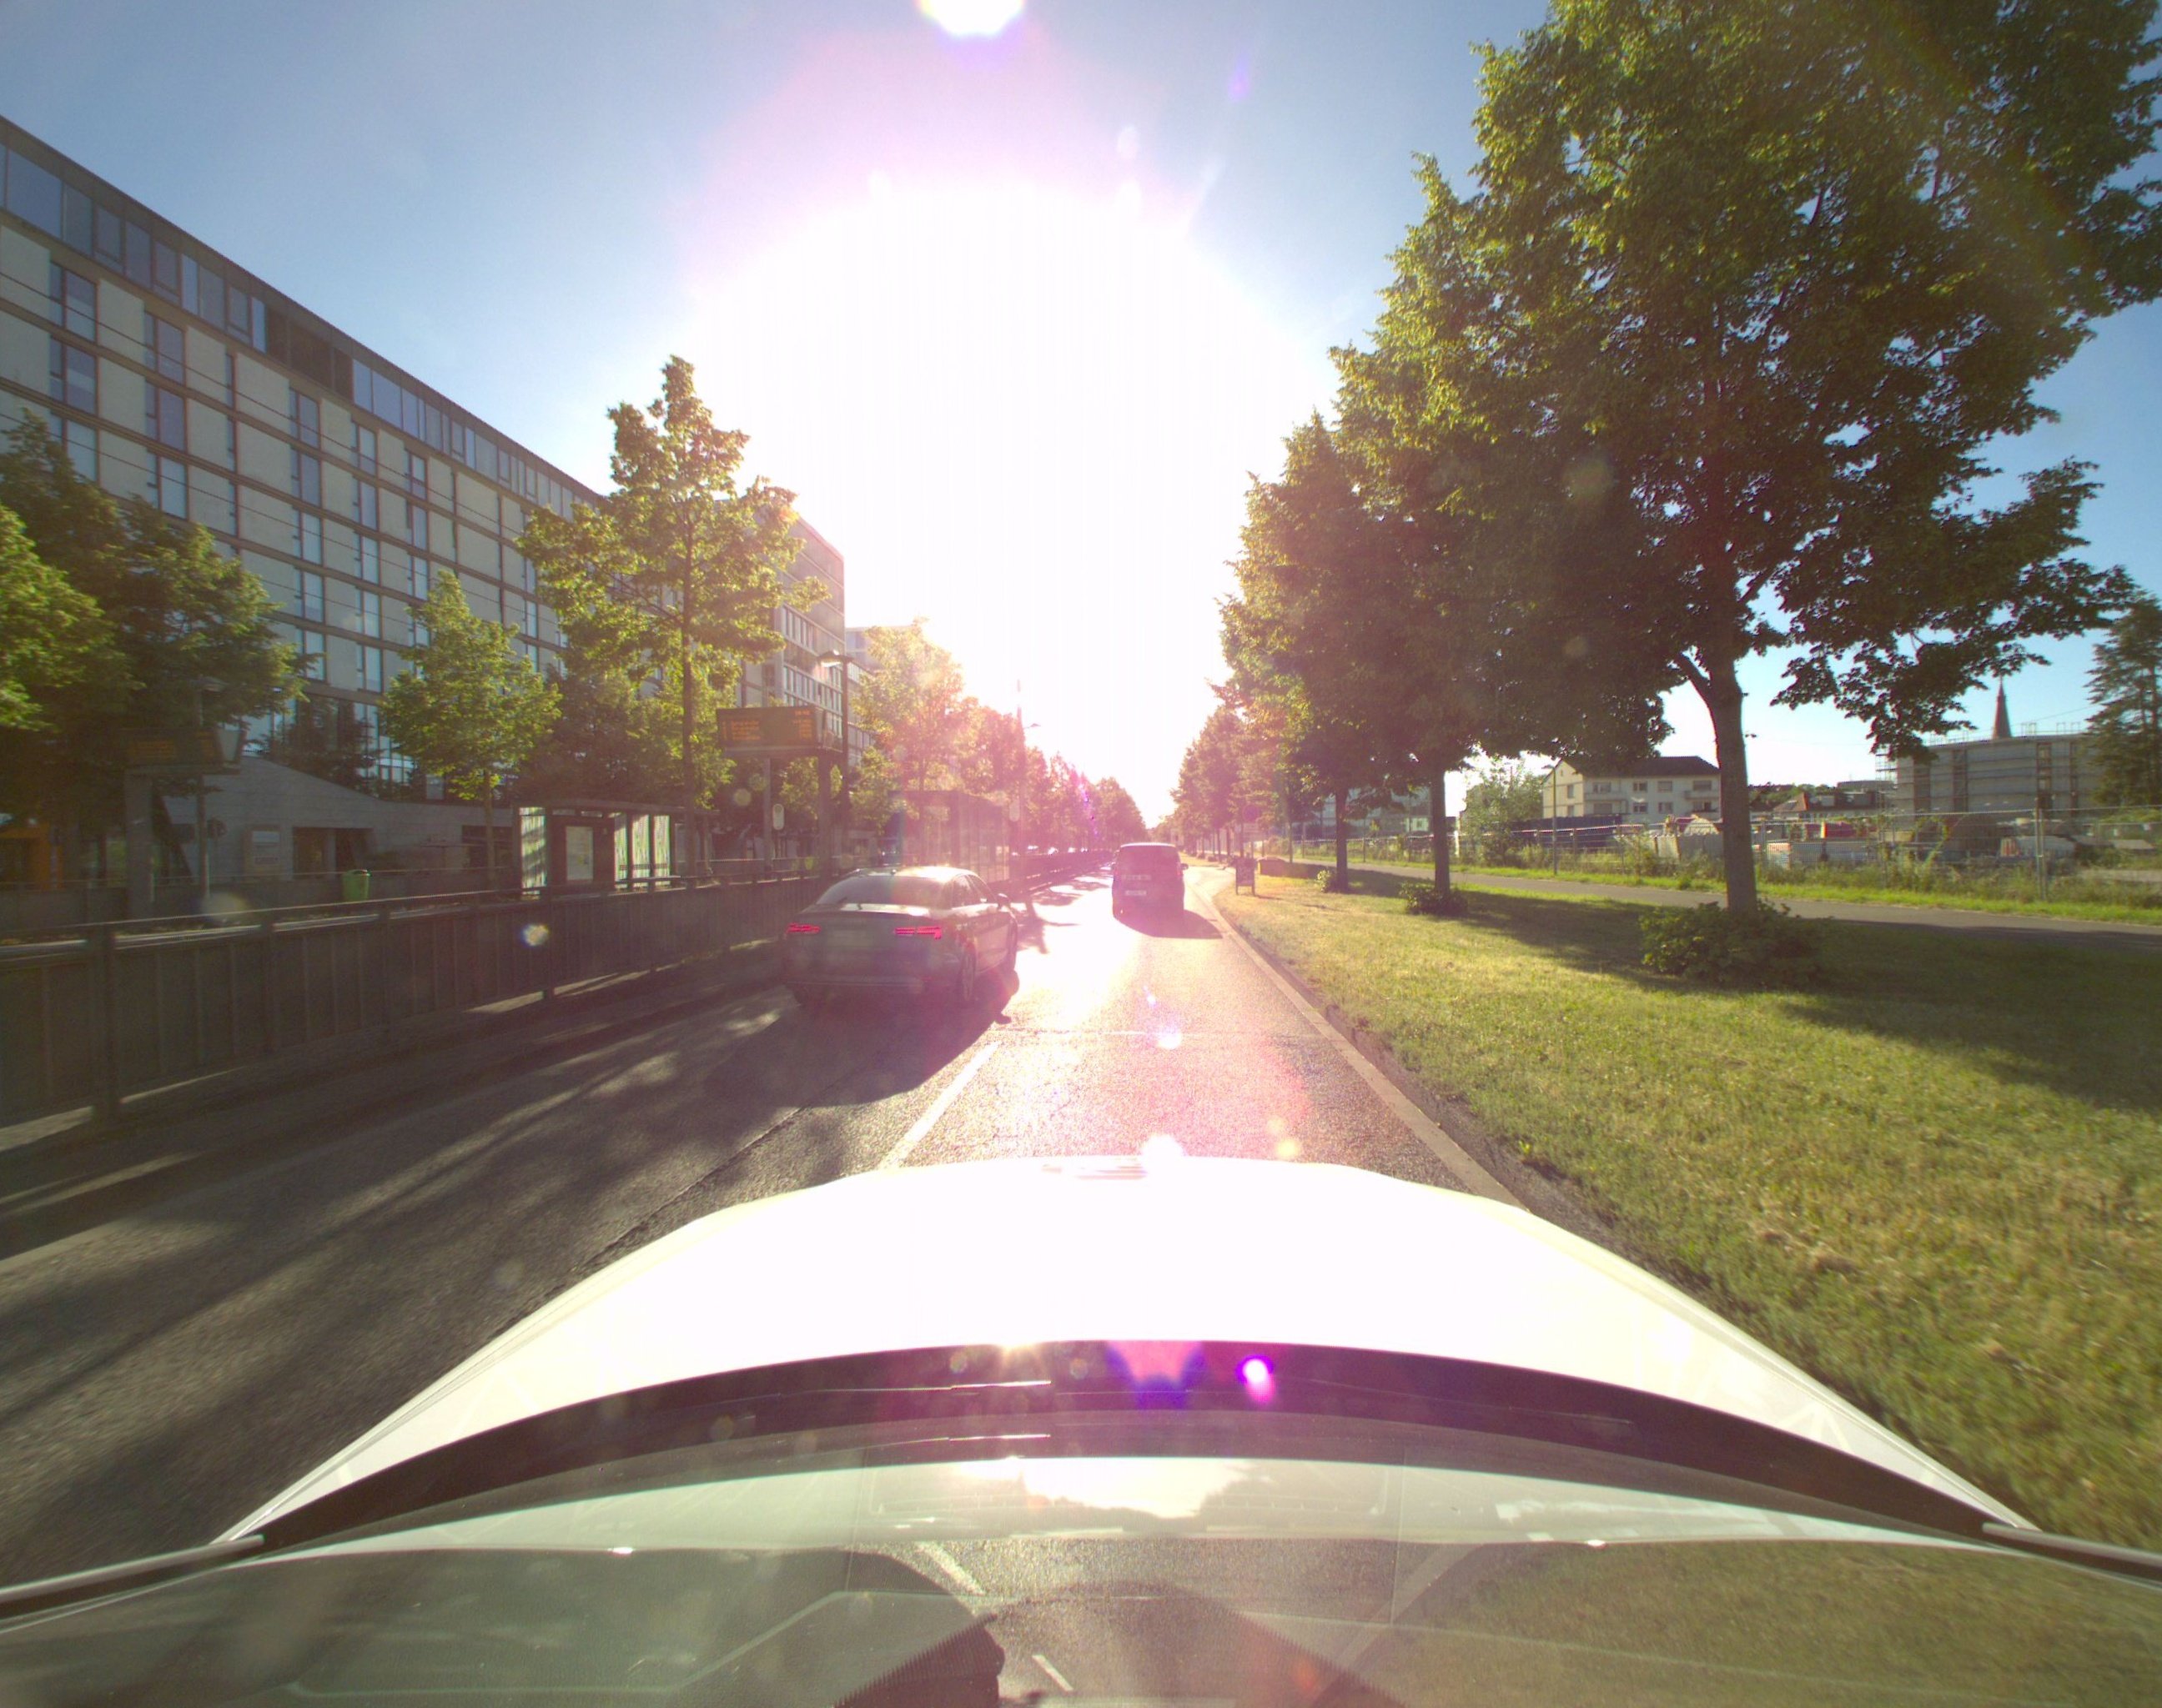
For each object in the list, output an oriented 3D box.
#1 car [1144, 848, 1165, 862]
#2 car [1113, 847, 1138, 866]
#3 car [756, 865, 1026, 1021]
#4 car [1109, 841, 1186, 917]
[{"bbox_3d":[7.461,0.128,82.940,1.934,1.347,4.004,-1,0,3],"label":"car"},{"bbox_3d":[3.646,0.193,66.786,1.934,1.441,4.004,-1,0,3],"label":"car"},{"bbox_3d":[-1.845,0.823,9.310,1.712,1.366,4.153,-1,-1,6],"label":"car"},{"bbox_3d":[1.685,0.564,21.096,1.790,1.777,4.004,0,0,3],"label":"car"}]
